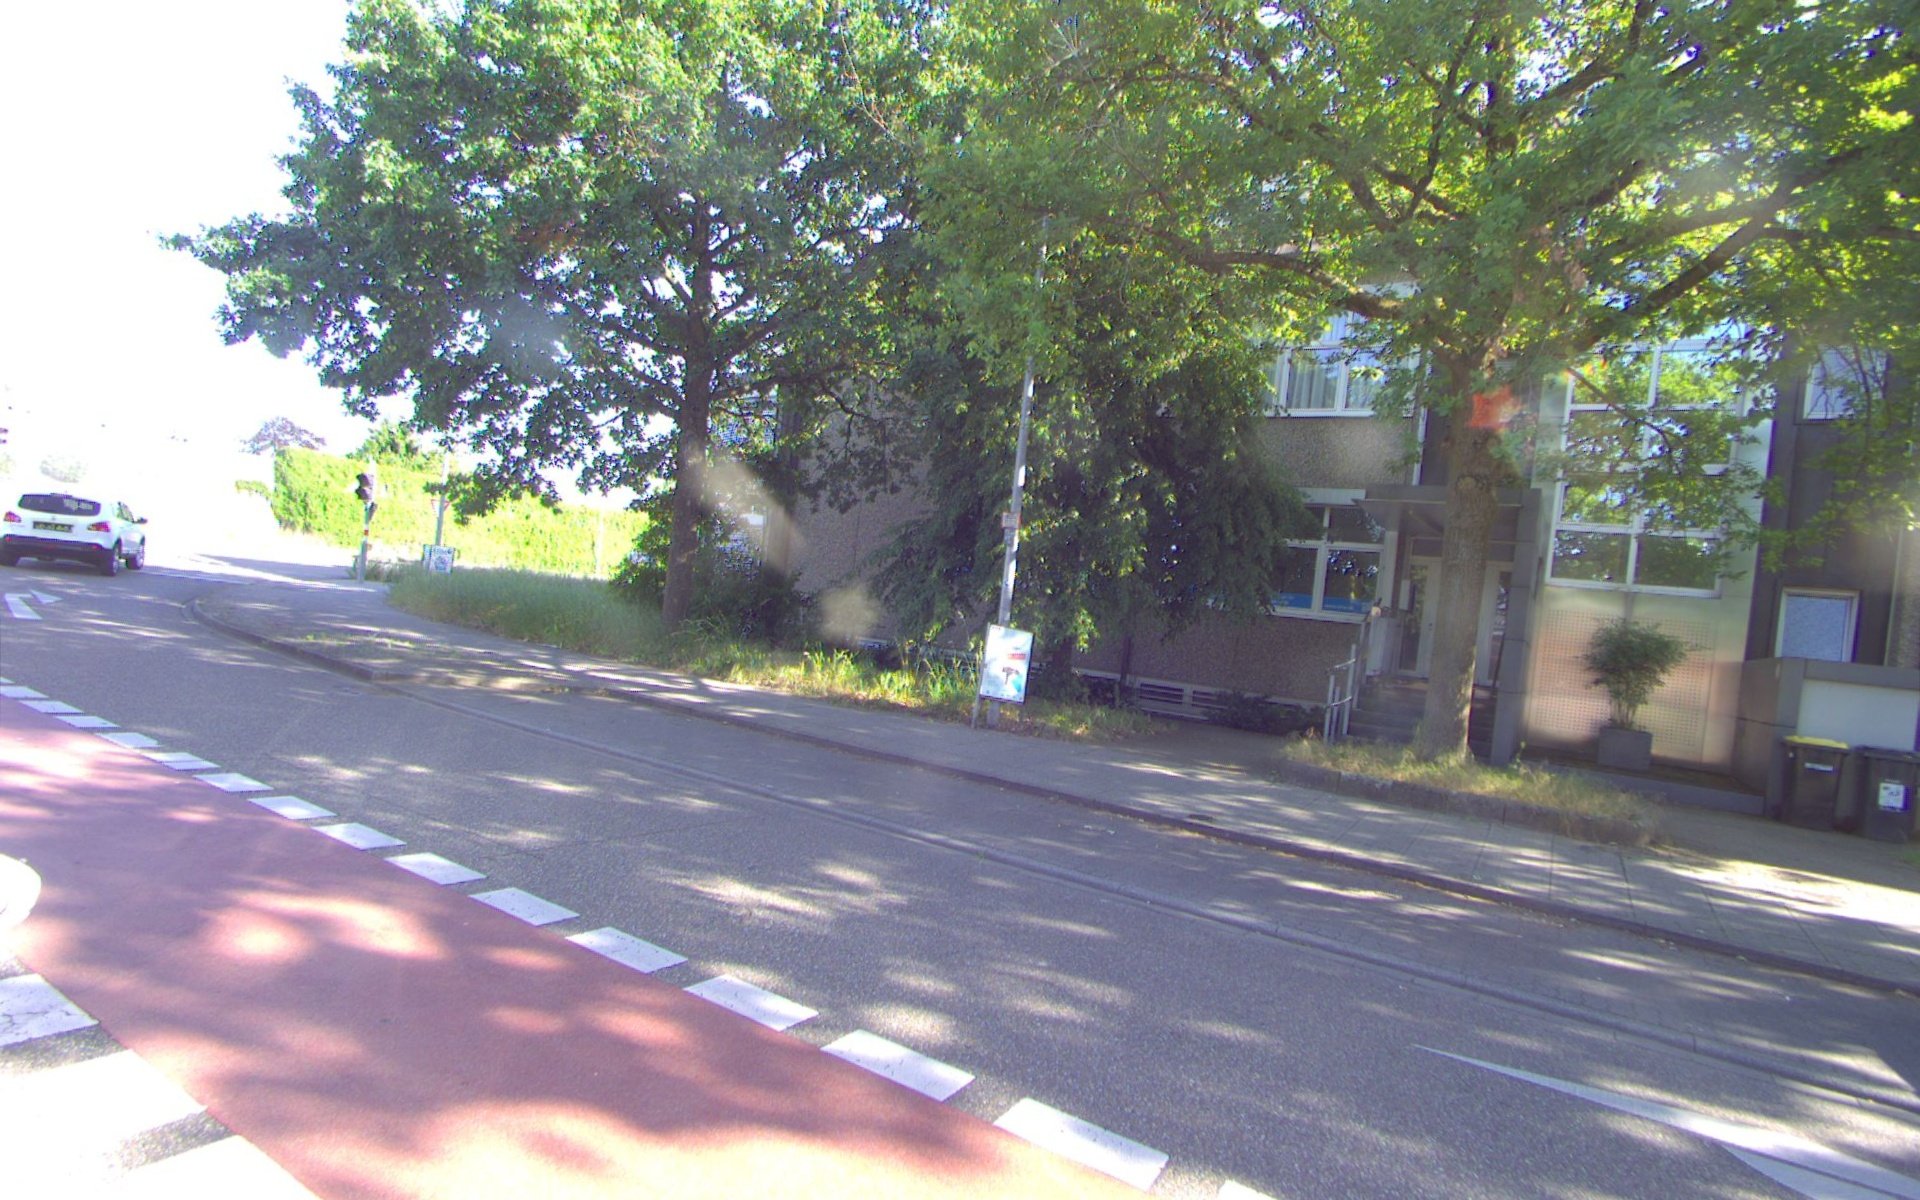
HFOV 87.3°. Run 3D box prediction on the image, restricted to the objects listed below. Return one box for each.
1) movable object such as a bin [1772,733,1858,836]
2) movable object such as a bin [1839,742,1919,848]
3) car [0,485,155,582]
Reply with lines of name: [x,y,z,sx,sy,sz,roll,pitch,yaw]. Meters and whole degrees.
movable object such as a bin: [10.182,2.182,12.005,0.575,1.070,0.625,7,0,30]
movable object such as a bin: [10.771,2.250,11.711,0.605,1.075,0.634,6,0,30]
car: [-18.402,-1.407,21.071,1.704,1.628,4.034,7,1,-30]
